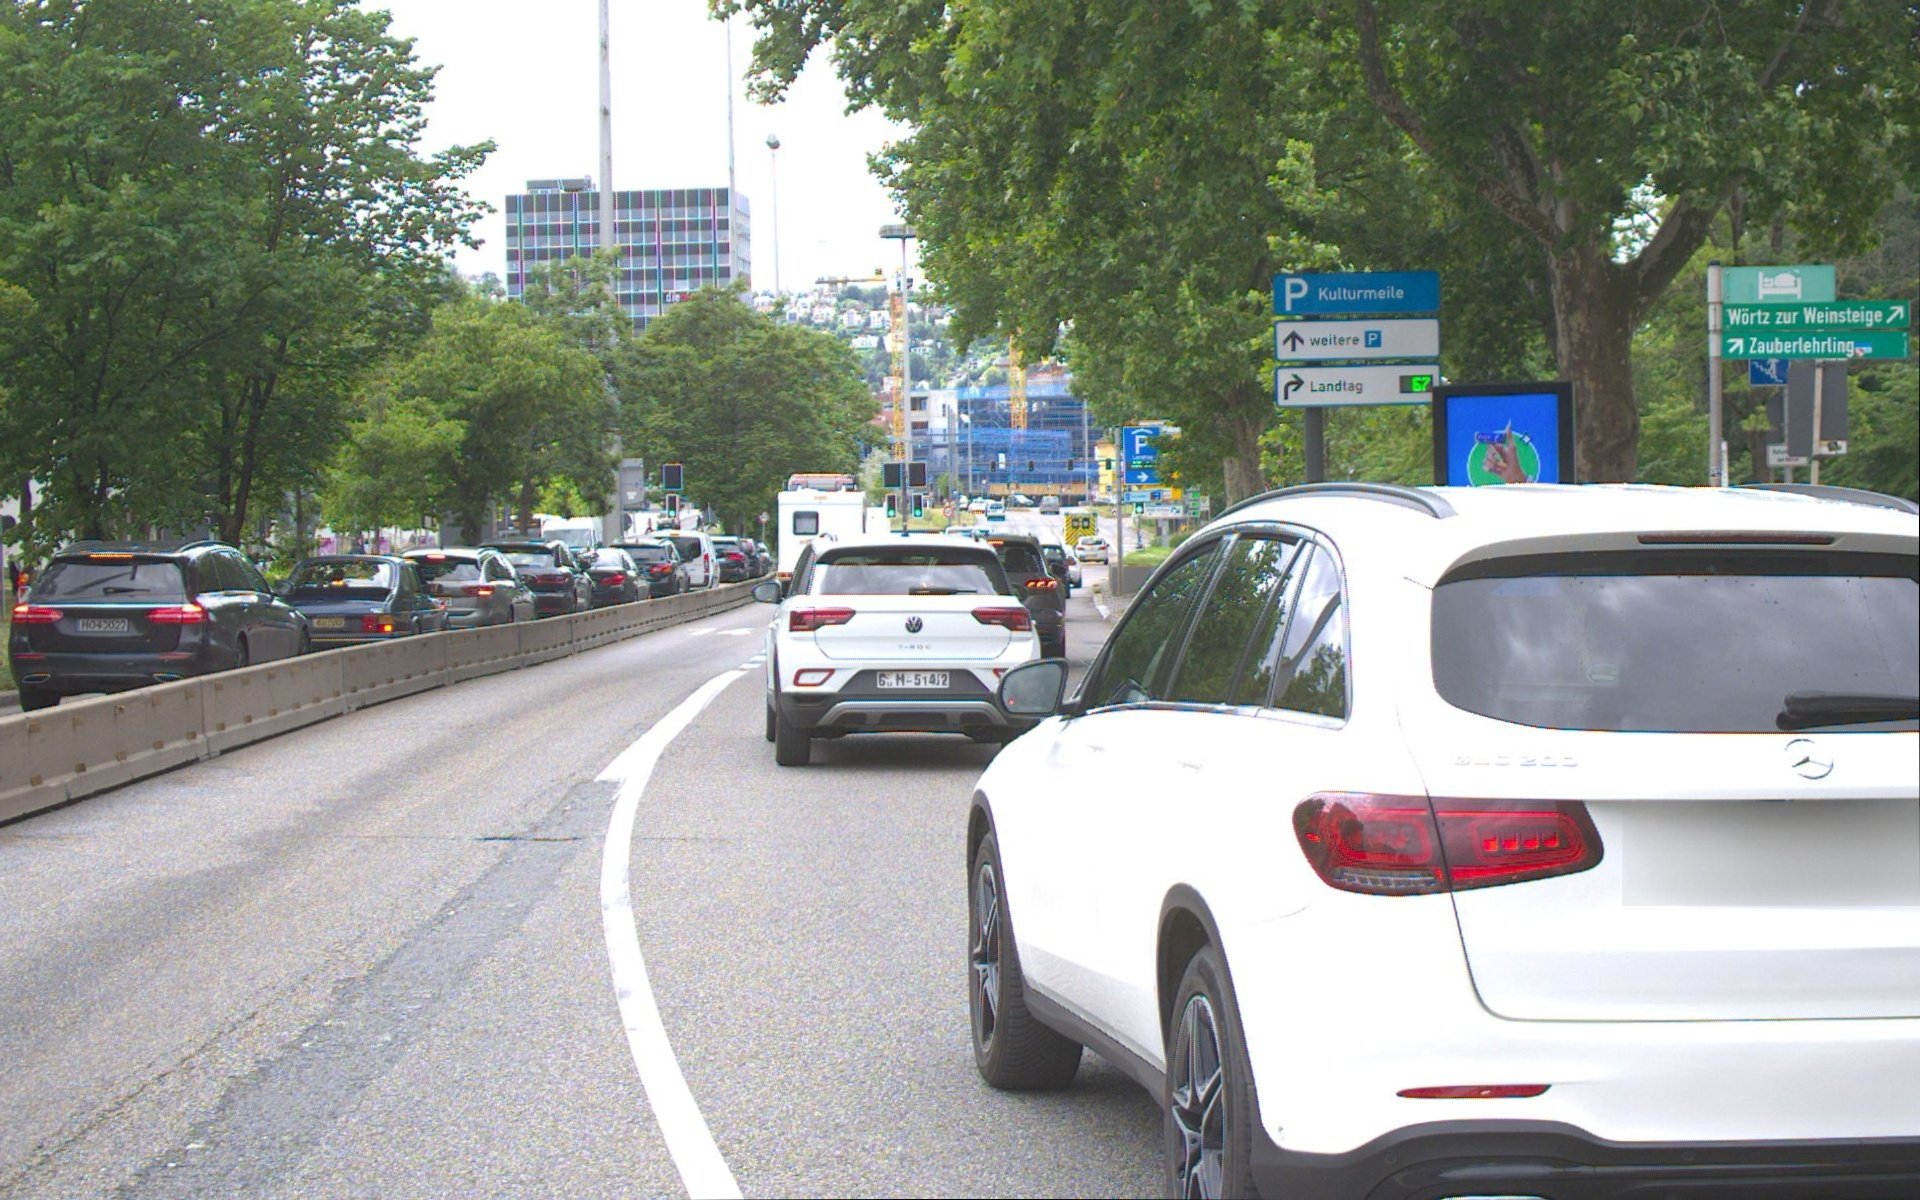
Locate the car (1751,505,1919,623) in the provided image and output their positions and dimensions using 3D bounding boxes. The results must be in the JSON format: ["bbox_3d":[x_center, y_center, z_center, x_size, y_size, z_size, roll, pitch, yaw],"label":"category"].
[{"bbox_3d":[13.038,-0.563,50.968,1.760,1.546,4.027,-1,3,1],"label":"car"}]

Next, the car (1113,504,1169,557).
[{"bbox_3d":[6.911,-2.638,131.648,1.993,2.007,4.000,0,1,1],"label":"car"}]

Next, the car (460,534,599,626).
[{"bbox_3d":[-6.957,-0.350,55.856,1.776,1.415,4.000,-1,1,0],"label":"car"}]

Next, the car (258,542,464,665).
[{"bbox_3d":[-7.109,-0.003,41.168,1.678,1.362,4.543,-1,1,0],"label":"car"}]

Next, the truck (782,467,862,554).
[{"bbox_3d":[-4.986,-3.206,124.819,2.691,2.981,5.638,1,0,-1],"label":"truck"}]

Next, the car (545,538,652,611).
[{"bbox_3d":[-6.776,-0.490,64.632,1.659,1.315,3.547,0,1,0],"label":"car"}]

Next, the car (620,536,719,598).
[{"bbox_3d":[-6.306,-0.721,74.939,1.659,1.315,3.547,0,1,3],"label":"car"}]

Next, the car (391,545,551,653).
[{"bbox_3d":[-6.722,-0.027,47.574,1.661,1.431,3.960,0,0,0],"label":"car"}]

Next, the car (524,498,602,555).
[{"bbox_3d":[-14.139,-2.617,122.667,2.115,1.962,5.578,-1,1,0],"label":"car"}]

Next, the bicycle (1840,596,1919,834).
[{"bbox_3d":[5.137,0.550,16.958,1.609,1.126,0.470,0,1,-26],"label":"bicycle"}]

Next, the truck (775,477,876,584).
[{"bbox_3d":[-3.703,-1.926,96.084,2.621,2.851,7.079,1,1,-1],"label":"truck"}]

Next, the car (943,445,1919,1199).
[{"bbox_3d":[1.147,0.526,7.977,1.787,1.619,4.438,0,1,-8],"label":"car"}]

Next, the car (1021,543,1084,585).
[{"bbox_3d":[2.941,-1.167,109.796,1.947,1.315,4.016,0,1,1],"label":"car"}]

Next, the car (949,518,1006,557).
[{"bbox_3d":[0.630,-2.184,120.428,1.947,1.315,4.016,0,1,1],"label":"car"}]

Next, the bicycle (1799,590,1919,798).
[{"bbox_3d":[5.442,0.508,18.518,1.729,1.087,0.574,1,1,9],"label":"bicycle"}]

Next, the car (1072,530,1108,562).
[{"bbox_3d":[6.756,-2.825,178.944,1.758,1.663,4.168,-1,1,0],"label":"car"}]

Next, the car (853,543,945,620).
[{"bbox_3d":[-1.117,-0.350,64.345,1.659,1.408,3.547,0,0,0],"label":"car"}]

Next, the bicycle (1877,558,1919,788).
[{"bbox_3d":[5.388,0.359,17.289,1.609,1.126,0.408,0,1,-26],"label":"bicycle"}]

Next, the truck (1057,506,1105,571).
[{"bbox_3d":[7.689,-3.931,219.407,2.877,4.089,6.638,1,1,1],"label":"truck"}]

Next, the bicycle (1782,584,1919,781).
[{"bbox_3d":[5.536,0.469,19.379,1.729,1.087,0.425,1,1,13],"label":"bicycle"}]

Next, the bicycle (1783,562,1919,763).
[{"bbox_3d":[5.429,0.344,18.909,1.729,1.087,0.380,1,1,13],"label":"bicycle"}]

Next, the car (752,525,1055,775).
[{"bbox_3d":[-0.474,0.299,23.973,1.795,1.603,3.756,0,1,-6],"label":"car"}]

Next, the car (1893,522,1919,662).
[{"bbox_3d":[12.599,-0.108,38.508,3.836,1.563,1.679,0,1,0],"label":"car"}]

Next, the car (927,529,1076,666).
[{"bbox_3d":[0.483,-0.050,42.897,1.659,1.633,3.548,0,1,-2],"label":"car"}]

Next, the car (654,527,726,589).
[{"bbox_3d":[-6.848,-1.048,87.299,1.659,1.508,3.547,-1,0,-2],"label":"car"}]

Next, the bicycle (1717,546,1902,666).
[{"bbox_3d":[8.705,0.058,35.262,1.785,1.216,0.492,0,1,3],"label":"bicycle"}]

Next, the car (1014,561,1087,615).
[{"bbox_3d":[2.452,-0.355,93.463,1.947,1.423,4.016,0,1,1],"label":"car"}]

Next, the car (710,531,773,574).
[{"bbox_3d":[-6.773,-1.466,106.745,1.659,1.315,3.547,0,1,1],"label":"car"}]

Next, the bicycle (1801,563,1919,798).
[{"bbox_3d":[5.385,0.418,18.059,1.757,1.205,0.604,1,1,-3],"label":"bicycle"}]

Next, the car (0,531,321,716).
[{"bbox_3d":[-7.023,0.157,30.494,1.816,1.494,4.769,-1,1,0],"label":"car"}]
